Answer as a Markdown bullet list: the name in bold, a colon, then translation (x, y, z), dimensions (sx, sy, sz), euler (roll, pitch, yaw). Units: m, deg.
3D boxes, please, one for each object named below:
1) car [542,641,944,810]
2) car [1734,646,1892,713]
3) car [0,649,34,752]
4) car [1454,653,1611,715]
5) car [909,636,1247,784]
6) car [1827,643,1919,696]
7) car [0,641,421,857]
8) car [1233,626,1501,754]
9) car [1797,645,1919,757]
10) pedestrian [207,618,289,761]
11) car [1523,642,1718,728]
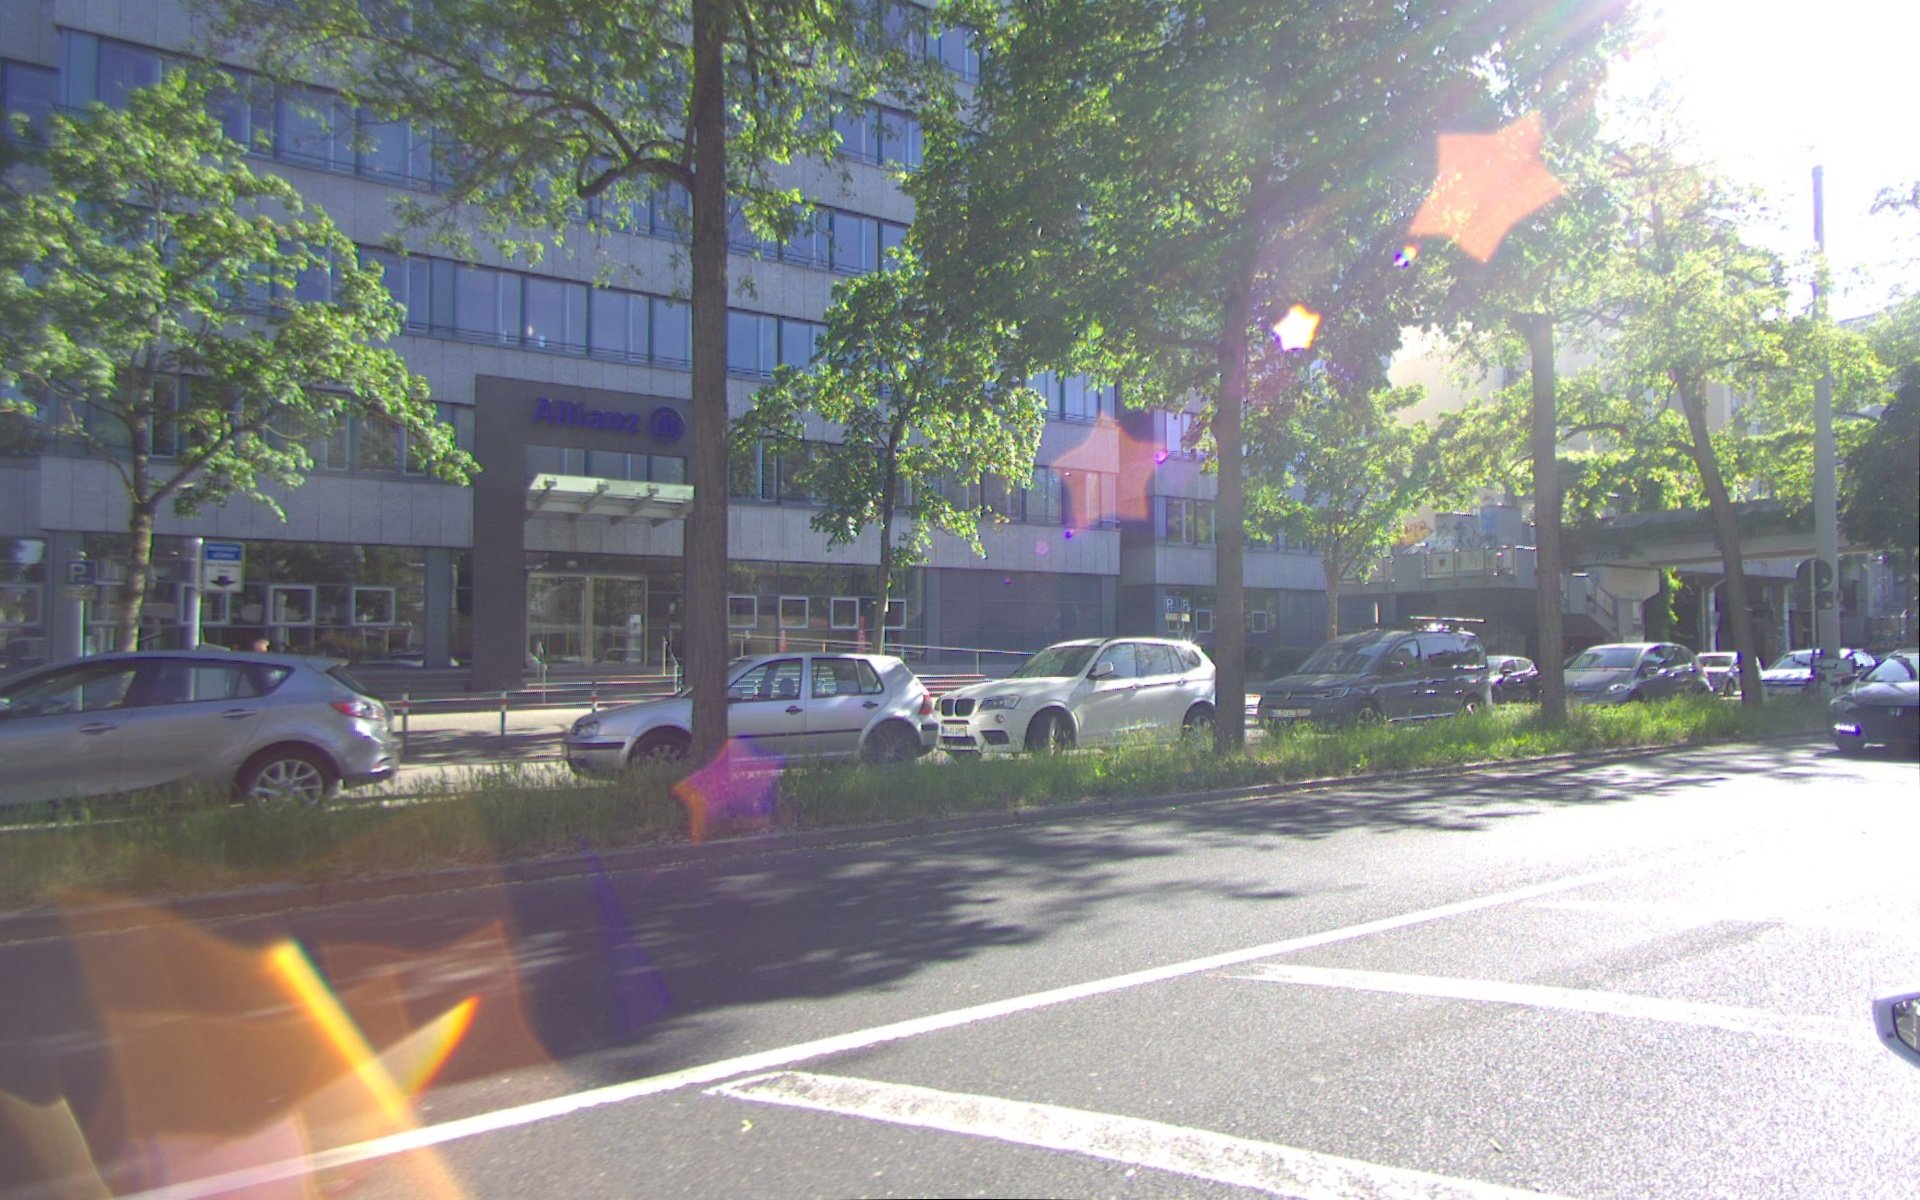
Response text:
- **car**: translation (-2.366, 1.238, 11.148), dimensions (4.014, 1.543, 1.848), euler (1, -2, -29)
- **car**: translation (21.784, 1.967, 25.622), dimensions (4.270, 1.543, 1.846), euler (1, -2, -32)
- **car**: translation (-15.458, 1.544, 14.833), dimensions (1.841, 1.543, 4.281), euler (1, -2, -32)
- **car**: translation (15.495, 2.209, 27.157), dimensions (4.270, 1.543, 1.846), euler (1, -3, -32)
- **car**: translation (1.727, 1.355, 13.820), dimensions (4.620, 1.706, 1.843), euler (2, -2, -36)
- **car**: translation (25.490, 1.866, 27.527), dimensions (3.542, 1.324, 1.624), euler (1, -2, -32)
- **car**: translation (-6.982, 1.131, 8.423), dimensions (4.269, 1.543, 1.847), euler (1, -2, -31)
- **car**: translation (6.820, 1.386, 16.715), dimensions (4.510, 1.874, 1.846), euler (1, -2, -32)
- **car**: translation (14.130, 1.377, 14.438), dimensions (4.268, 1.458, 1.848), euler (1, -4, -30)
- **pedestrian**: translation (-10.960, 1.357, 15.492), dimensions (0.761, 2.121, 0.788), euler (2, -1, -19)
- **car**: translation (13.592, 1.678, 20.655), dimensions (3.826, 1.589, 1.847), euler (1, -2, -30)
